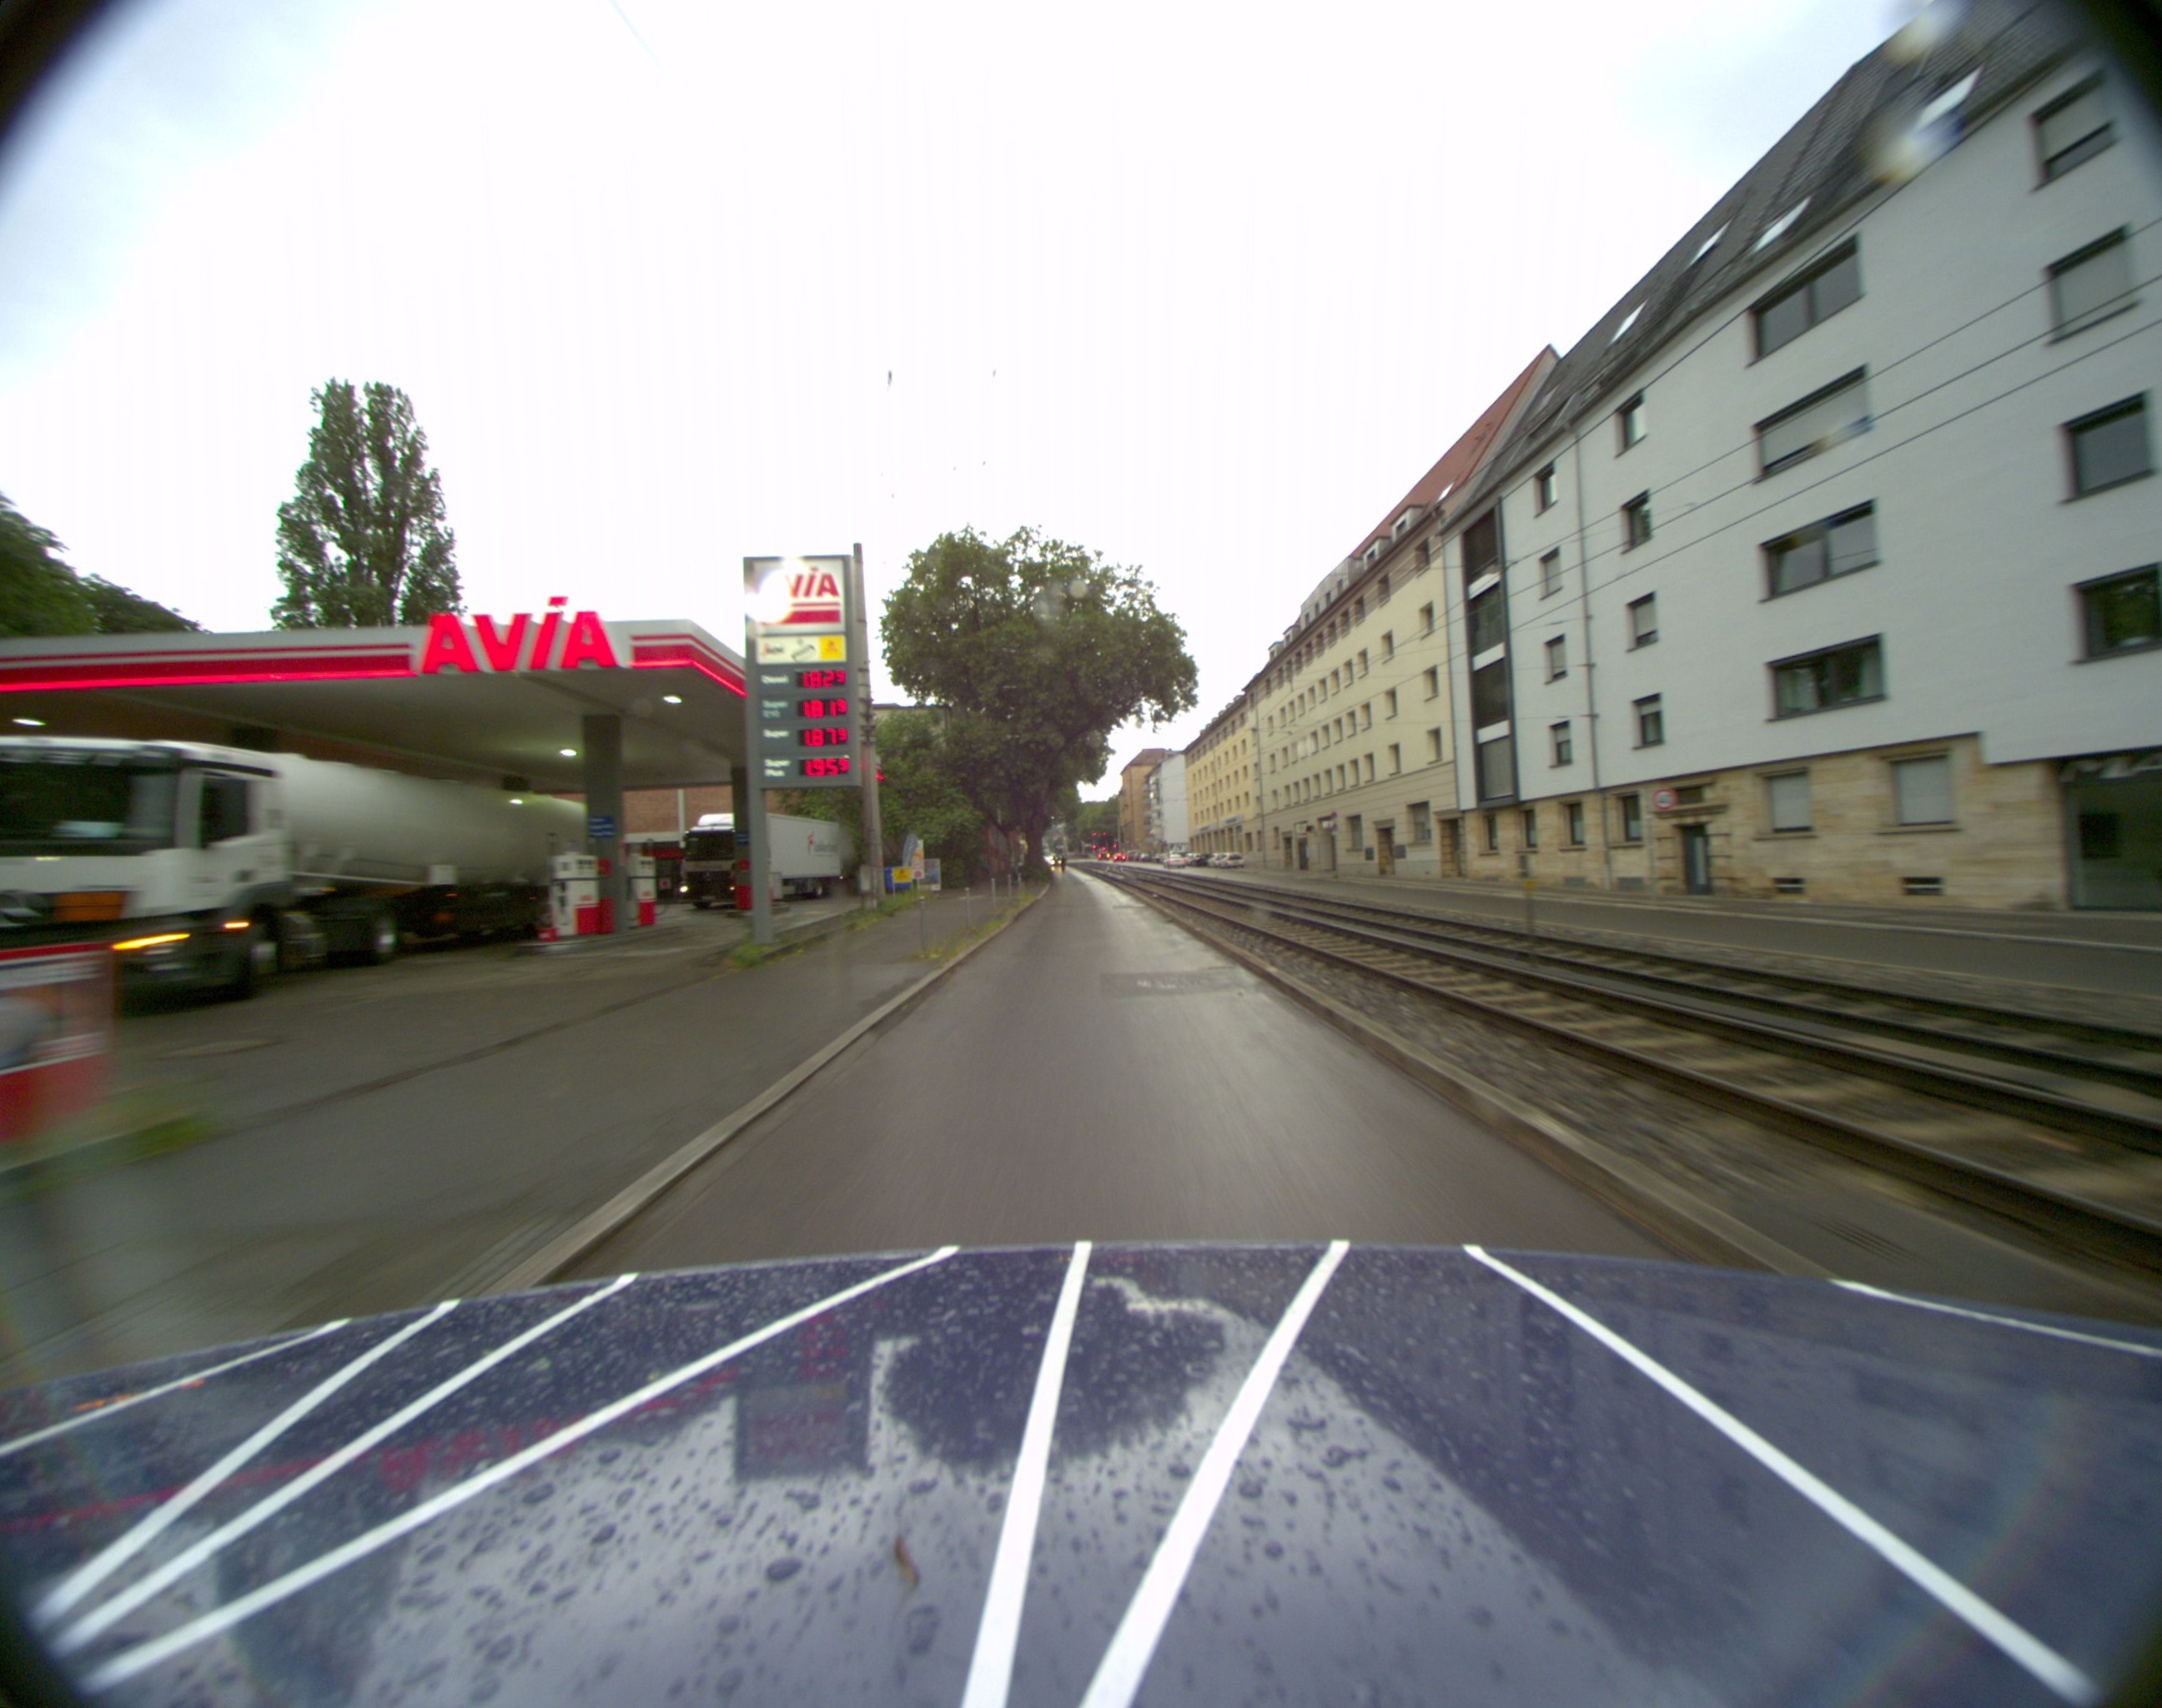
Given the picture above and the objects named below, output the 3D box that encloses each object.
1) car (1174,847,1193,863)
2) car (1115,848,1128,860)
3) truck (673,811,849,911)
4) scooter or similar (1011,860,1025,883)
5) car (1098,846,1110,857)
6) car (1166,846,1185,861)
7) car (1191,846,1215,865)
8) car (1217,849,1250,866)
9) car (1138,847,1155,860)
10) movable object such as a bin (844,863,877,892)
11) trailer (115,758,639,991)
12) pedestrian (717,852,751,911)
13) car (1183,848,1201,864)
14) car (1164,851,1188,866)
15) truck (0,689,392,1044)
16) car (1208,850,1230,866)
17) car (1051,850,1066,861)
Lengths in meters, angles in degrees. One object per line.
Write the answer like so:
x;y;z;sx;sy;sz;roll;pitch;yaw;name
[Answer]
12.686;0.087;94.155;1.557;1.872;4.039;-1;1;-2;car
7.097;-0.048;133.486;1.949;2.002;3.999;-1;1;-2;car
-13.025;0.203;32.365;2.660;3.548;10.256;-1;1;3;truck
-3.561;1.005;43.196;0.400;1.186;1.363;-1;3;12;scooter or similar
4.972;-0.539;161.946;2.184;2.420;4.747;-1;1;-2;car
12.459;-0.078;100.272;1.728;1.798;3.590;-1;1;-5;car
13.407;0.124;83.711;1.729;1.948;4.297;-1;1;-3;car
14.456;0.313;72.263;2.031;1.533;3.998;-1;1;-5;car
10.785;-0.094;124.781;2.031;2.002;4.225;-1;1;-5;car
-10.941;1.171;37.785;1.286;1.392;1.073;-1;0;0;movable object such as a bin
-13.208;0.238;16.141;2.813;3.376;9.828;-1;1;-7;trailer
-12.180;0.940;26.685;0.810;2.028;0.651;-1;1;-1;pedestrian
12.983;0.207;89.134;1.377;1.743;3.404;-1;1;-5;car
10.153;0.465;81.858;1.691;1.528;5.016;-1;0;-3;car
-11.764;0.139;9.899;2.842;3.380;6.111;-1;0;-30;truck
13.893;0.389;76.712;1.327;1.476;3.189;-1;1;-5;car
-3.227;0.193;110.213;1.889;1.482;3.849;-1;1;2;car
